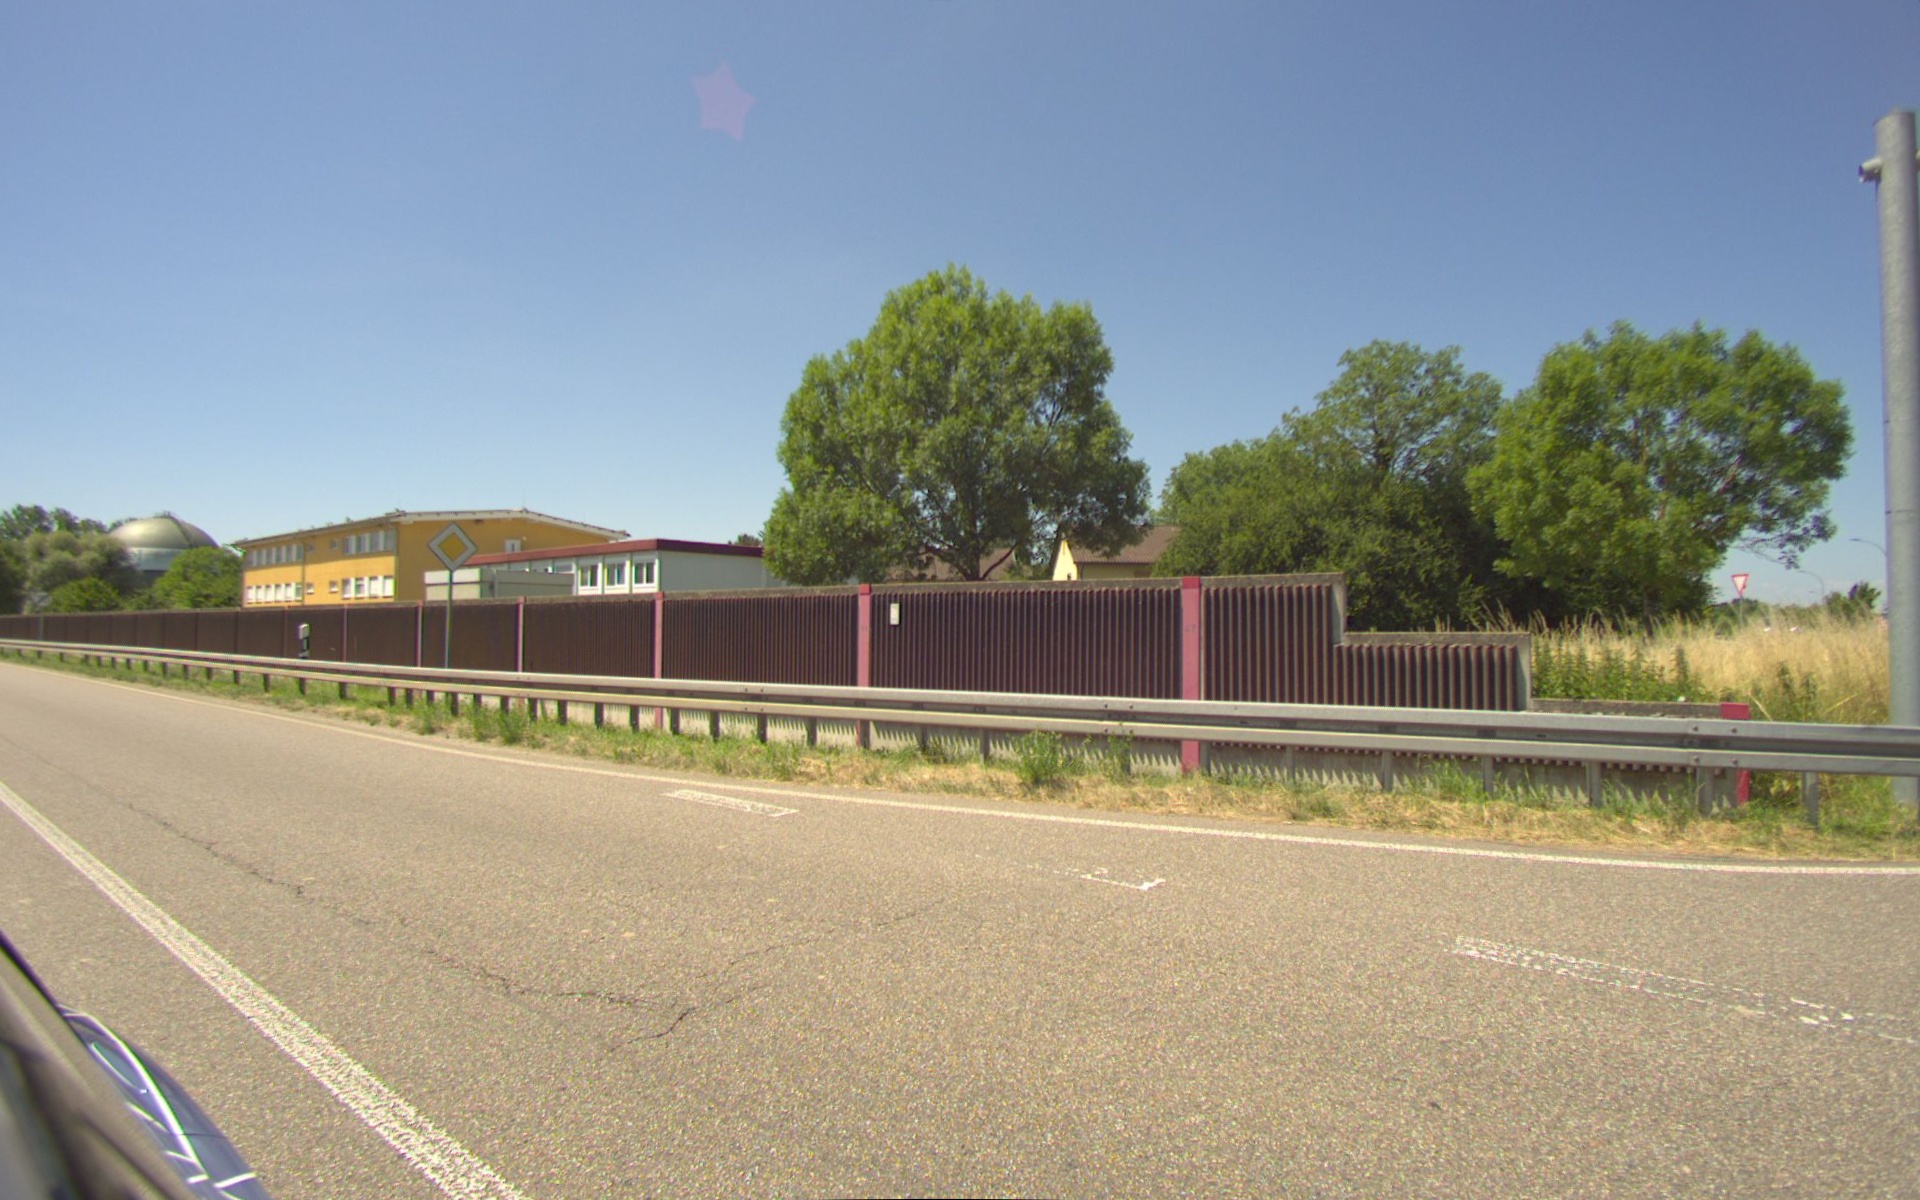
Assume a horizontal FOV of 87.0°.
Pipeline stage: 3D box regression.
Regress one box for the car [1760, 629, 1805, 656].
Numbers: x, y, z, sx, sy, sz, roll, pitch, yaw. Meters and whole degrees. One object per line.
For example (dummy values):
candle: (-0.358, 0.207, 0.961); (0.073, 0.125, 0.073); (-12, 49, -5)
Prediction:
car: (53.056, 2.737, 65.339); (1.766, 1.637, 4.187); (-2, -2, 33)
